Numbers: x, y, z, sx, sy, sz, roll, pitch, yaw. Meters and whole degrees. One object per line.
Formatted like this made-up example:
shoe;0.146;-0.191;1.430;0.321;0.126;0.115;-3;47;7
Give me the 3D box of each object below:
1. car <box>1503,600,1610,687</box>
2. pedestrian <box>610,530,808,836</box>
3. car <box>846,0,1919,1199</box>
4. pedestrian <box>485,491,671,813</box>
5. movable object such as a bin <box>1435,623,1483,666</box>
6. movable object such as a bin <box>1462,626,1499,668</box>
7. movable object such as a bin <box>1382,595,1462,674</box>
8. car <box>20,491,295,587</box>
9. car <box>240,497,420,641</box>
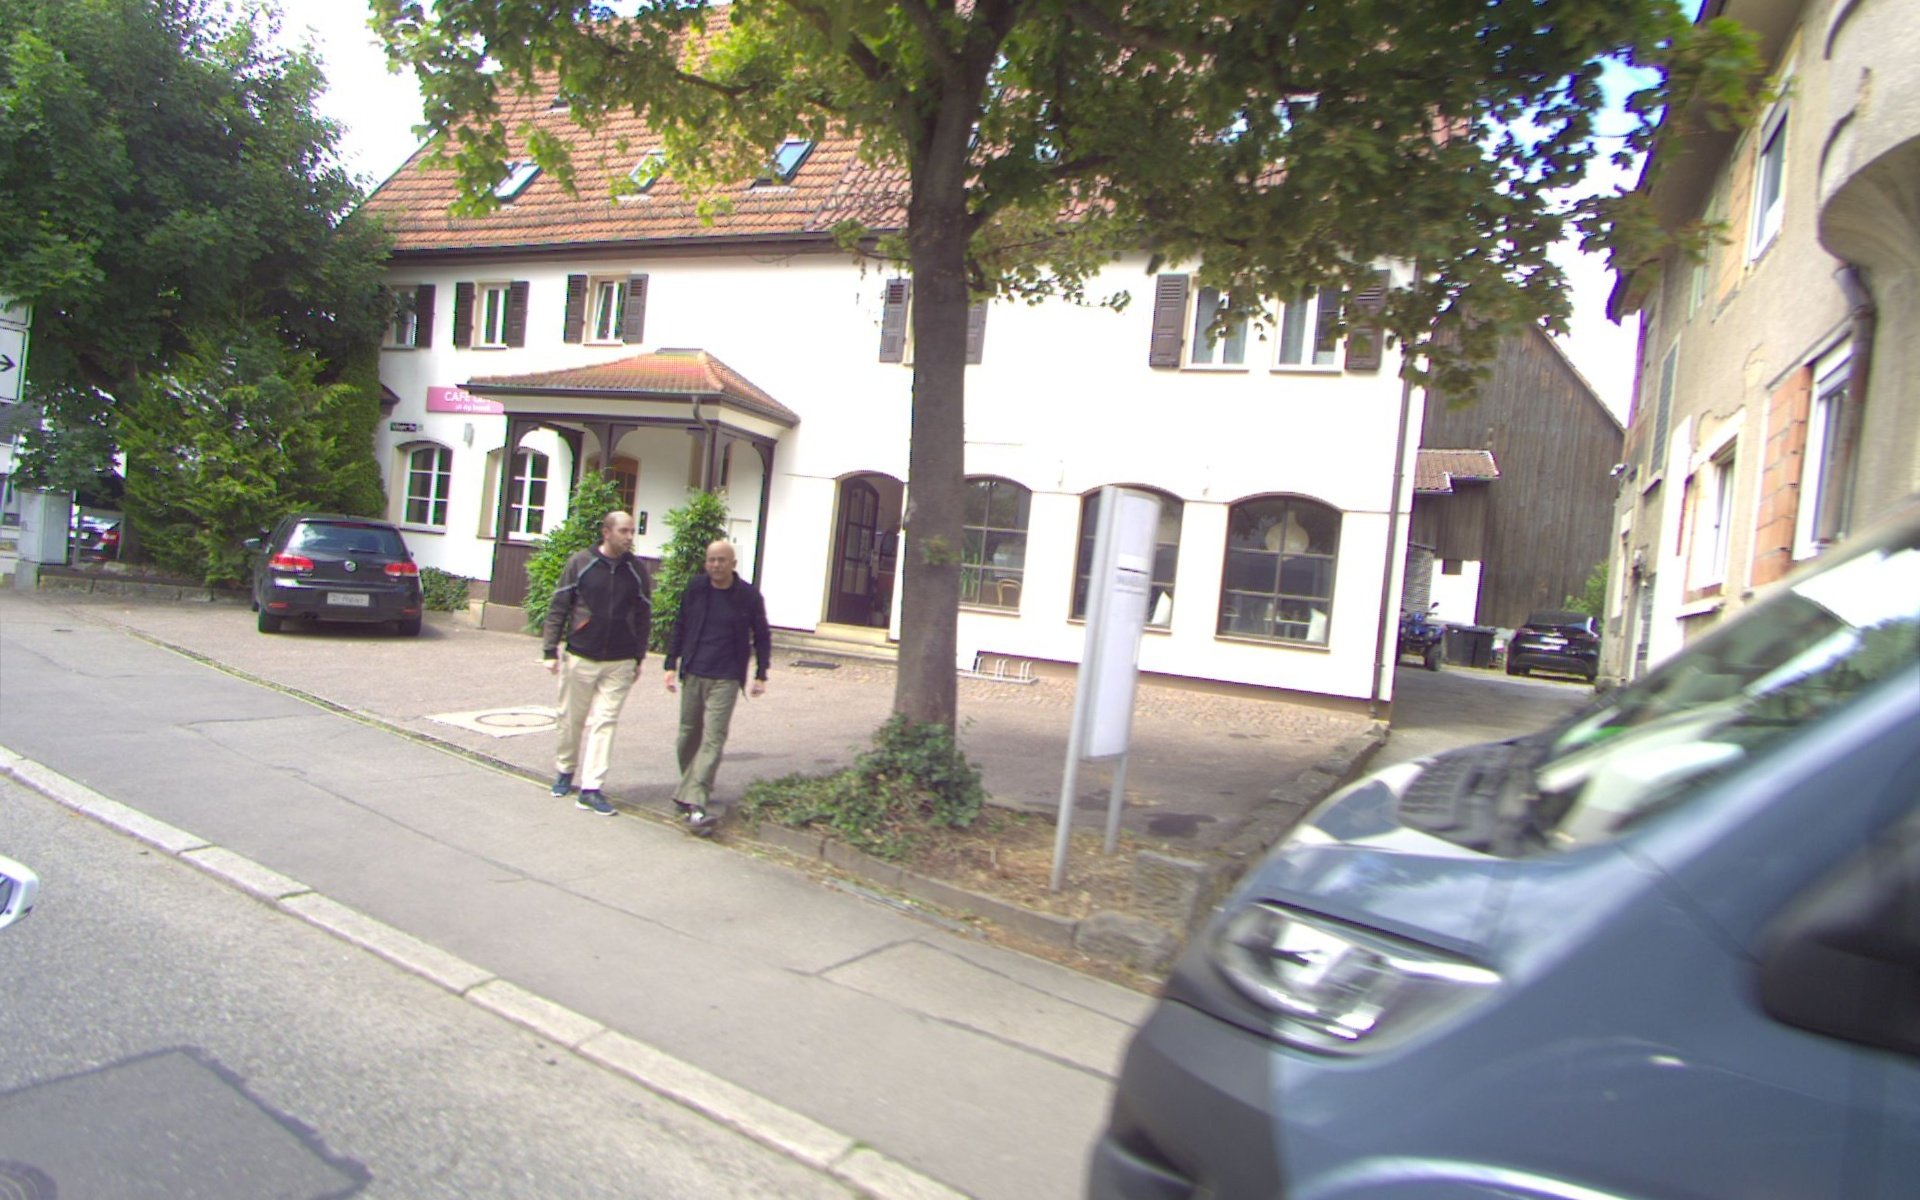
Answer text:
car;14.096;0.957;23.803;1.863;1.707;3.987;6;3;31
pedestrian;-1.502;0.471;5.959;0.779;1.663;0.792;7;1;-30
car;3.066;0.491;0.842;6.145;2.805;2.150;7;0;32
pedestrian;-2.363;0.309;6.175;0.735;1.804;0.892;7;1;-32
movable object such as a bin;12.810;1.133;25.861;0.748;1.005;0.804;7;0;4
movable object such as a bin;13.451;1.214;25.996;0.562;1.005;0.614;7;0;4
movable object such as a bin;10.335;0.738;22.462;1.218;1.575;2.212;7;3;31
car;-16.379;-1.171;20.843;1.745;1.433;4.185;8;1;13
car;-8.561;-0.497;13.502;1.740;1.538;4.037;3;4;-36
